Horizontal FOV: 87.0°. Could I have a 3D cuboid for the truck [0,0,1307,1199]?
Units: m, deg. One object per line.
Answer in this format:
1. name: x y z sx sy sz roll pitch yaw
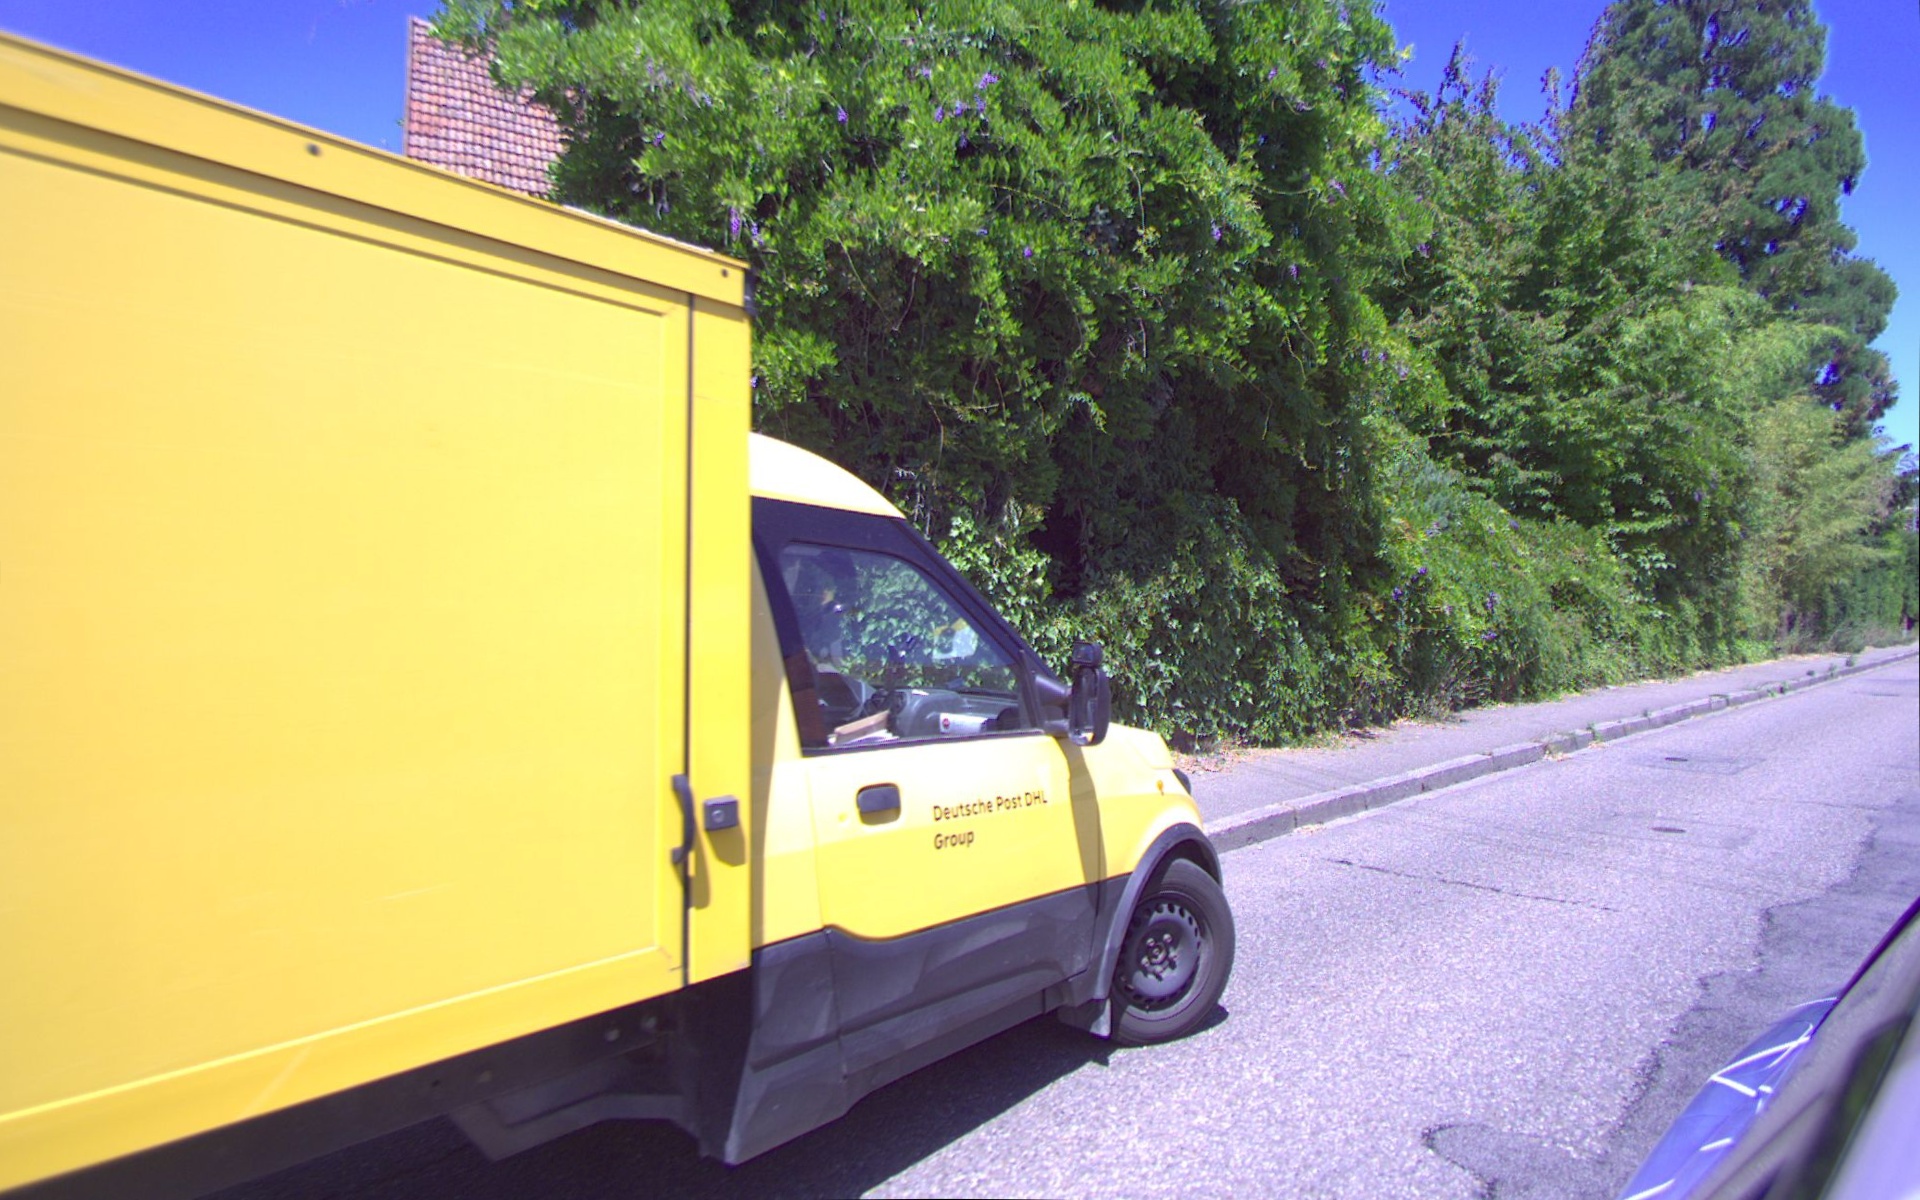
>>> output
1. truck: -1.577 0.355 2.111 2.012 2.338 6.079 -2 -2 43
